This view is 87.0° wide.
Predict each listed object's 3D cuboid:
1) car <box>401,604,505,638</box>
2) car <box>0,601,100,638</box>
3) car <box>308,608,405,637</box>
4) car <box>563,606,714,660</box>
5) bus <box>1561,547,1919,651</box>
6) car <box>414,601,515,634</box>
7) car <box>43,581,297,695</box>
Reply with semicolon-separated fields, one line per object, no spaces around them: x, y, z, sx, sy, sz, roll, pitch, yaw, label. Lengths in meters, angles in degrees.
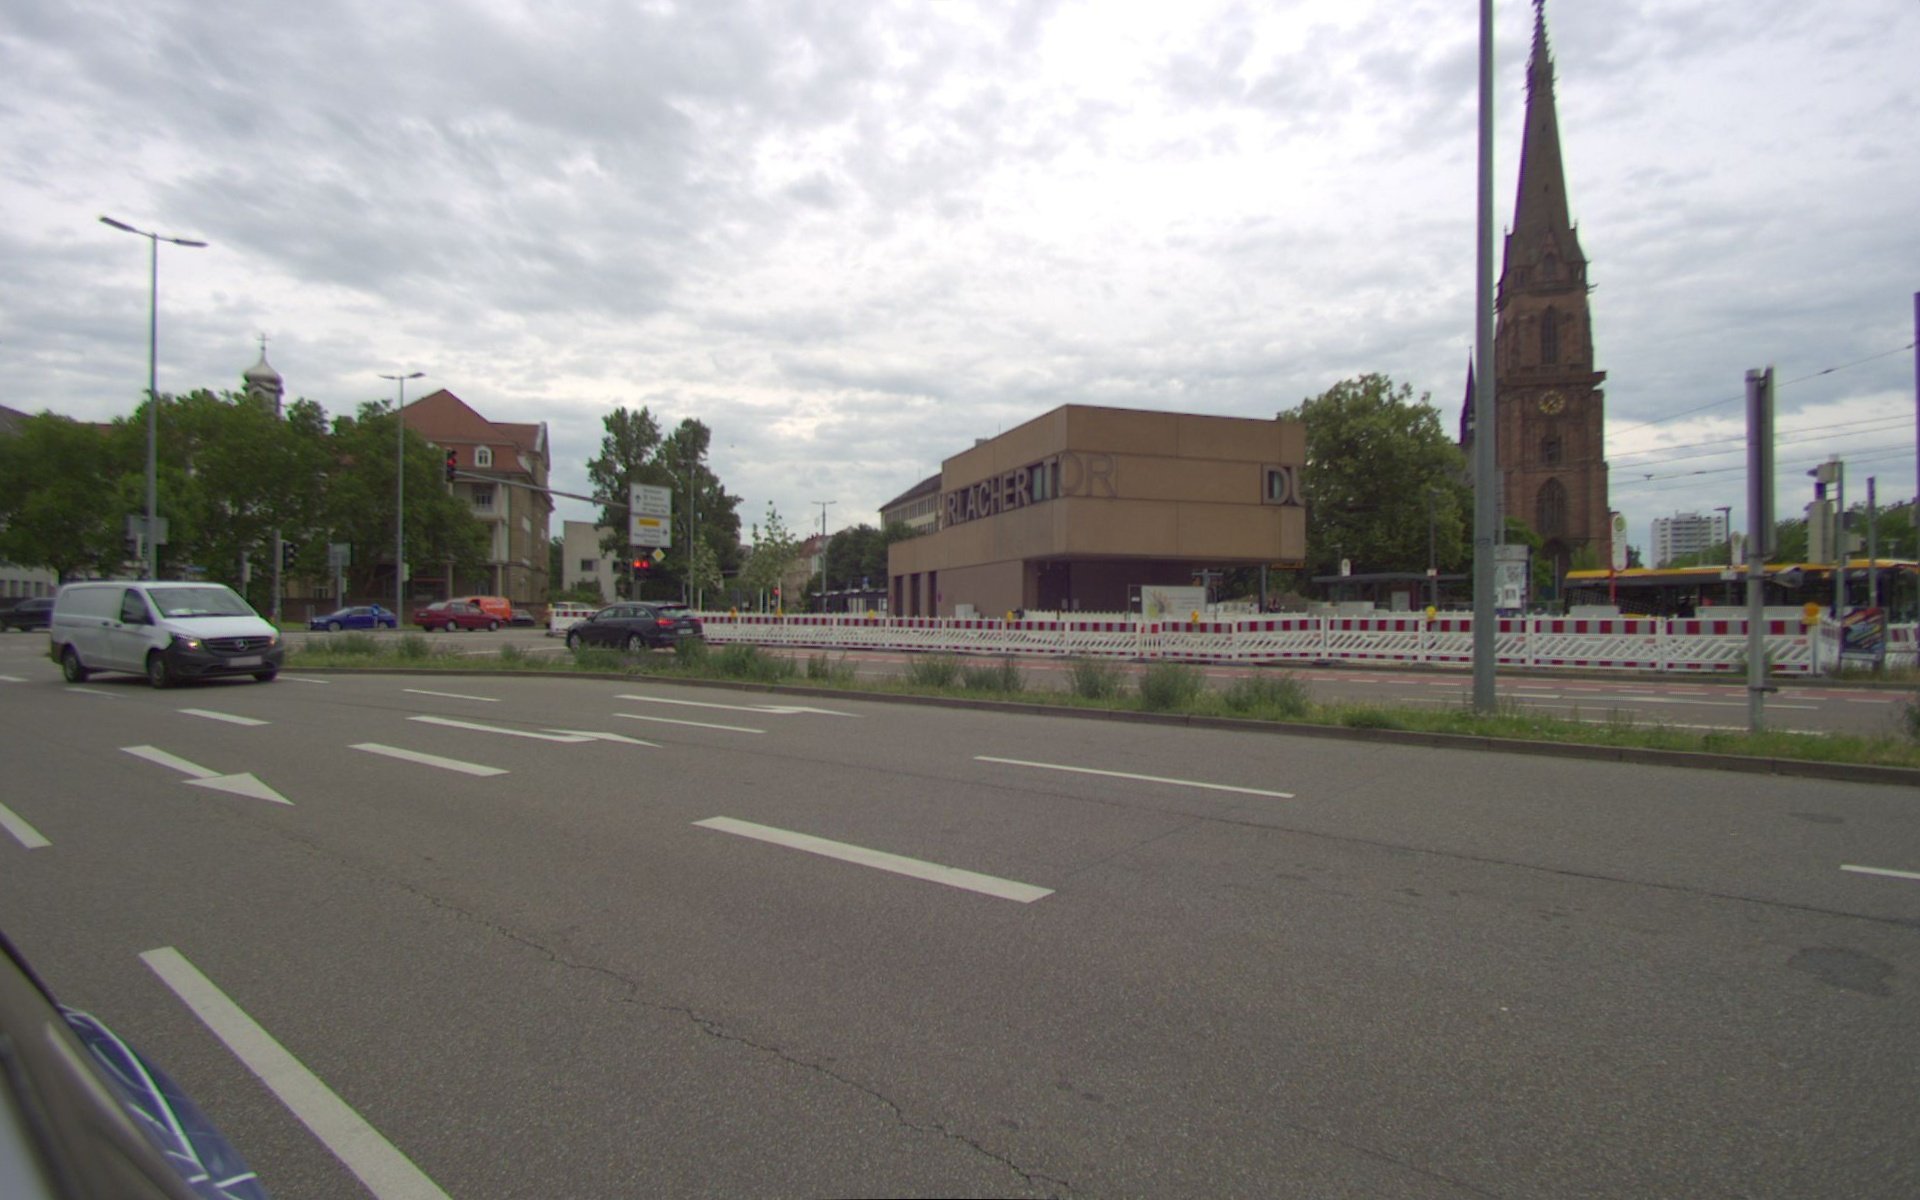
-24.546;1.018;49.201;1.902;1.552;4.311;0;-1;24;car
-45.759;0.965;50.526;3.940;1.741;2.002;-1;0;-3;car
-33.704;1.221;56.601;1.906;1.552;4.301;-1;-1;31;car
-9.005;0.894;28.254;3.989;1.409;1.977;-1;-1;34;car
27.828;-0.018;36.265;2.816;3.100;12.056;-1;0;-16;bus
-27.623;0.974;56.622;1.899;1.730;5.205;0;-1;21;car
-14.814;0.638;18.912;5.066;1.896;1.905;-1;0;29;car
